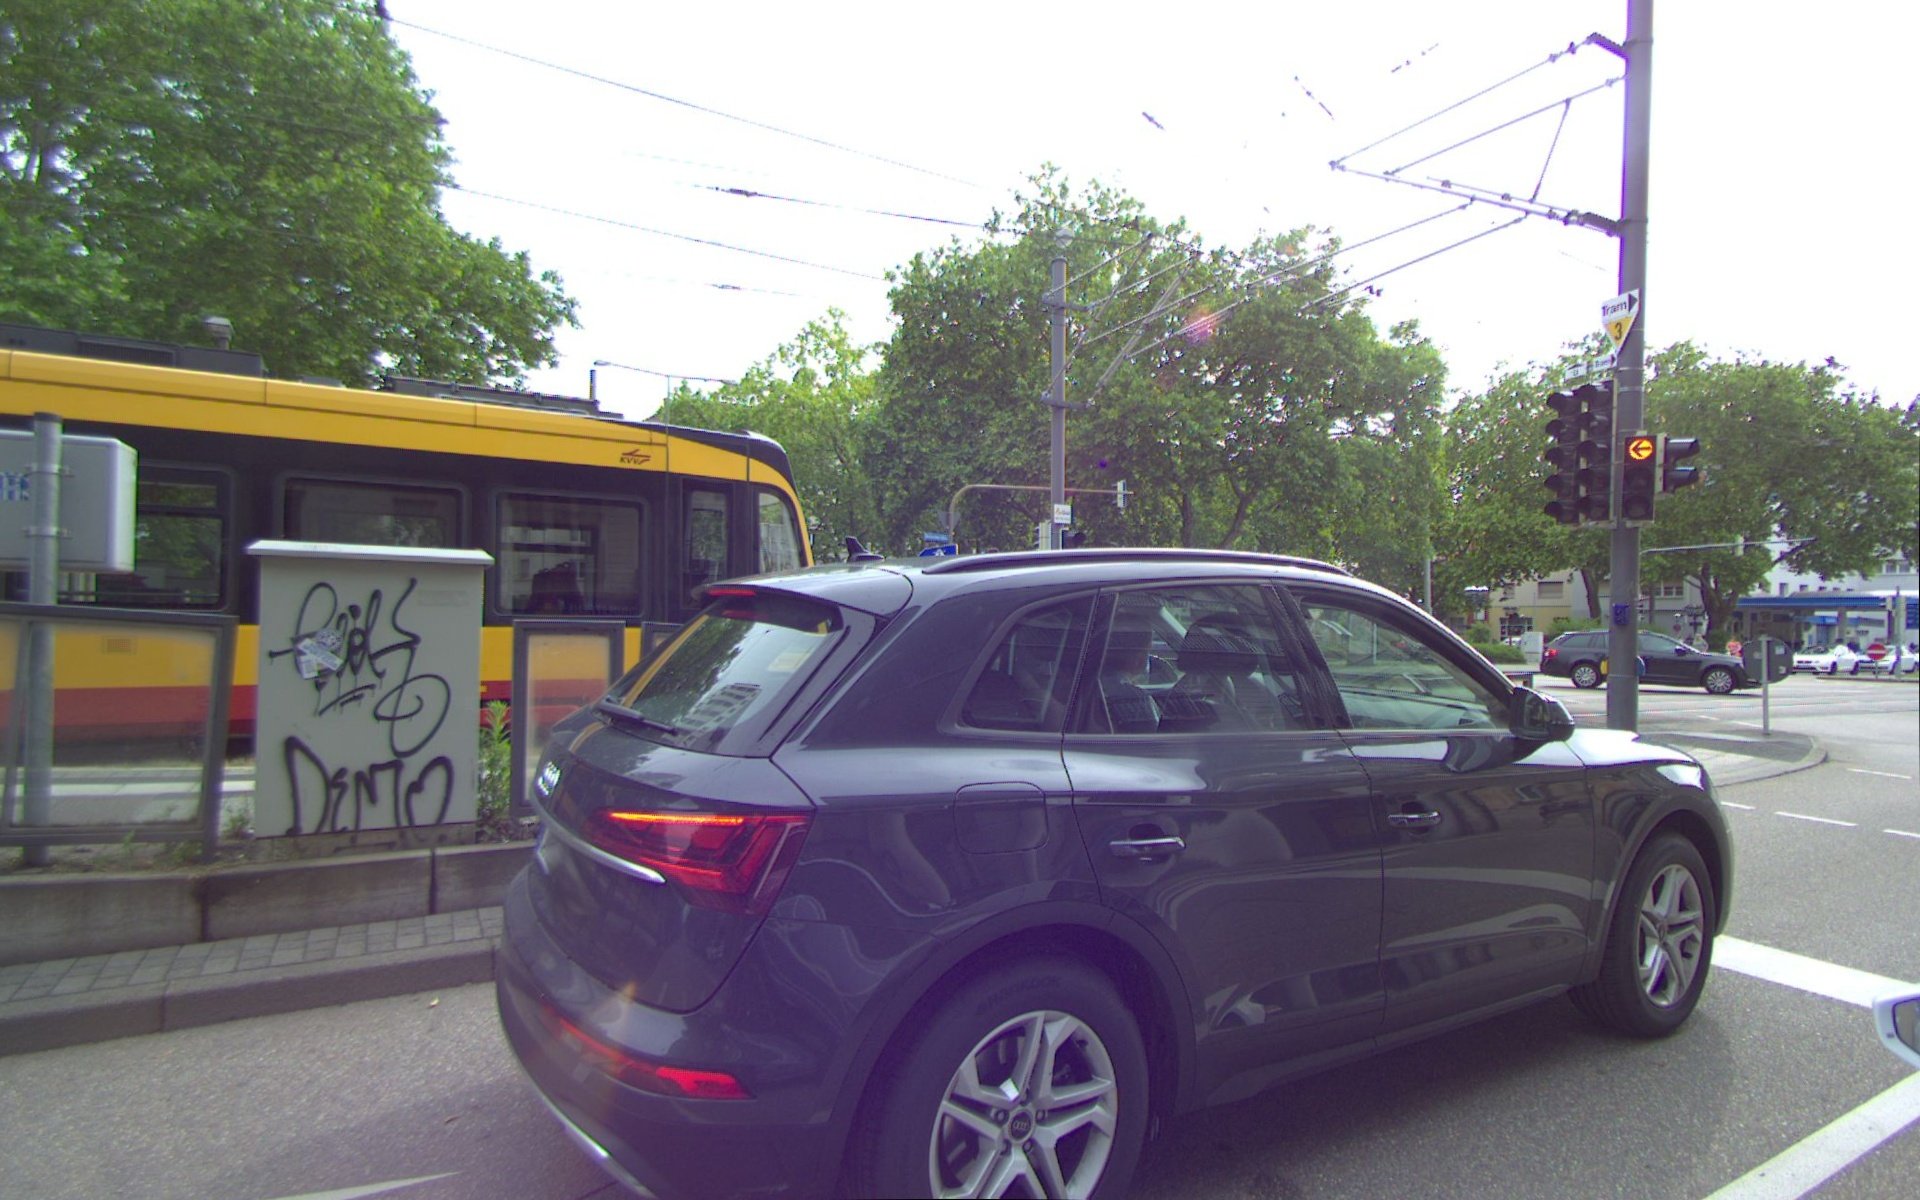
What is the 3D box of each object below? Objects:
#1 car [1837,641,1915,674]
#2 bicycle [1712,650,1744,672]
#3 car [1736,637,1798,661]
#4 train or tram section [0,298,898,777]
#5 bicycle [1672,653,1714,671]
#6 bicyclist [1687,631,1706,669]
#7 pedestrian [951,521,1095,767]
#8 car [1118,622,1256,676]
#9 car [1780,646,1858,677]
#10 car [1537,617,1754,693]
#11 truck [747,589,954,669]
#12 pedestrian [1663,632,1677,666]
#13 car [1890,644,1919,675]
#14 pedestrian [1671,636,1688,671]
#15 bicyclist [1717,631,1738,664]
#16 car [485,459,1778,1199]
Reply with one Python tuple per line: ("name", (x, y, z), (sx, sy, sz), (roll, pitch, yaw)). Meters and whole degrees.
("car", (46.909, 2.935, 51.435), (3.792, 1.578, 1.885), (2, 0, -30))
("bicycle", (36.866, 2.927, 48.234), (1.914, 1.031, 0.519), (2, 0, -30))
("car", (54.753, 3.329, 68.173), (3.954, 1.550, 1.984), (2, 0, -30))
("train or tram section", (-8.245, -0.499, 8.844), (15.665, 3.636, 3.045), (2, 0, -31))
("bicycle", (35.925, 3.030, 49.242), (0.644, 0.783, 1.682), (2, 0, -9))
("bicyclist", (35.978, 2.448, 49.094), (0.461, 1.808, 0.534), (2, 0, -10))
("pedestrian", (0.452, 0.311, 7.382), (0.722, 1.683, 0.750), (2, 0, -30))
("car", (7.283, 1.536, 32.393), (3.927, 1.489, 1.835), (2, 0, 36))
("car", (41.302, 2.949, 48.282), (3.954, 1.343, 1.626), (2, 0, -31))
("car", (16.896, 1.298, 24.962), (4.268, 1.607, 1.806), (2, 0, 35))
("truck", (-4.859, 1.080, 42.265), (10.032, 2.980, 2.623), (1, 0, 42))
("pedestrian", (38.157, 2.617, 54.007), (0.440, 1.808, 0.375), (2, 0, 3))
("car", (52.866, 3.286, 54.959), (3.792, 1.578, 1.885), (2, 0, -30))
("pedestrian", (38.400, 2.861, 53.610), (0.541, 1.808, 0.375), (2, 0, -4))
("bicyclist", (37.077, 2.291, 48.538), (0.611, 1.588, 0.585), (2, 0, -30))
("car", (0.809, 0.652, 3.533), (4.308, 1.622, 1.870), (2, -1, -31))
